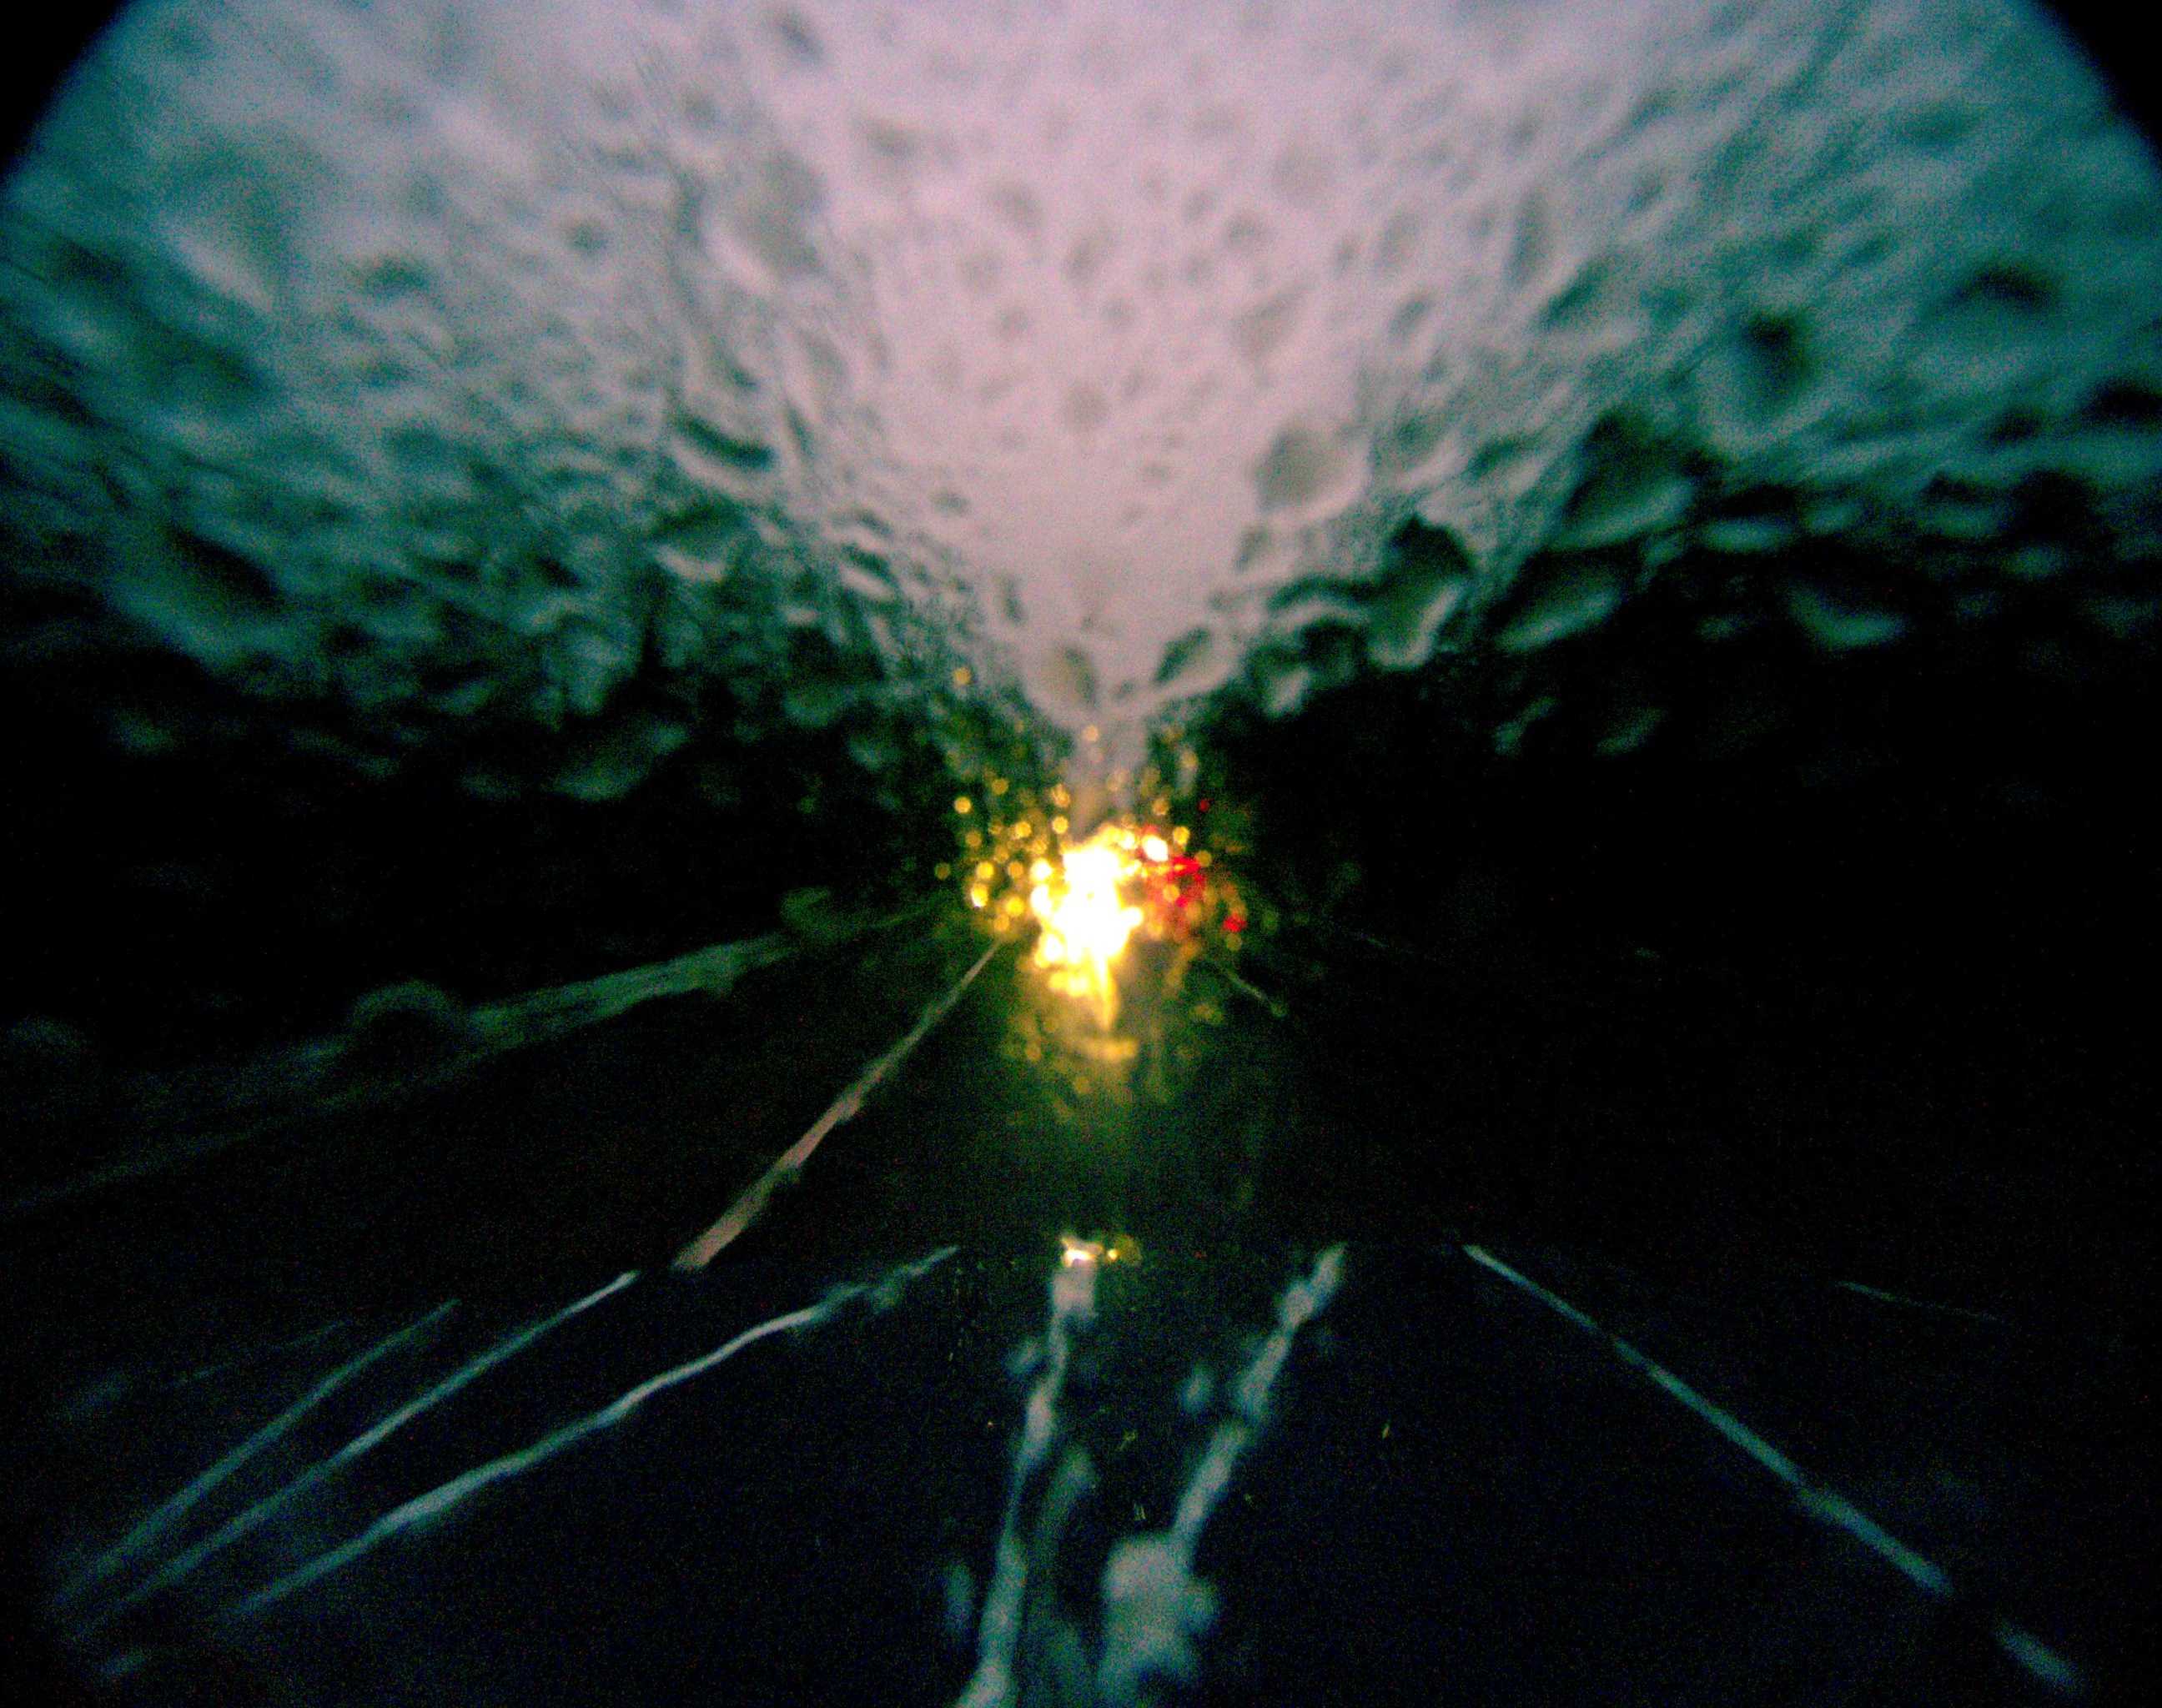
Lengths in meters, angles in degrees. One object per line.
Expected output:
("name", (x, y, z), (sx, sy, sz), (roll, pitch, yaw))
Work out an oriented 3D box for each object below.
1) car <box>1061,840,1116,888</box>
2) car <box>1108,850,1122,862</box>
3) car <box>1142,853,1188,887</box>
("car", (0.456, 0.457, 39.237), (2.542, 2.213, 6.169), (-2, 1, 2))
("car", (4.844, 0.317, 108.492), (1.826, 1.639, 4.750), (1, 0, 1))
("car", (4.114, 0.742, 37.715), (1.979, 1.559, 4.928), (0, 0, 3))
